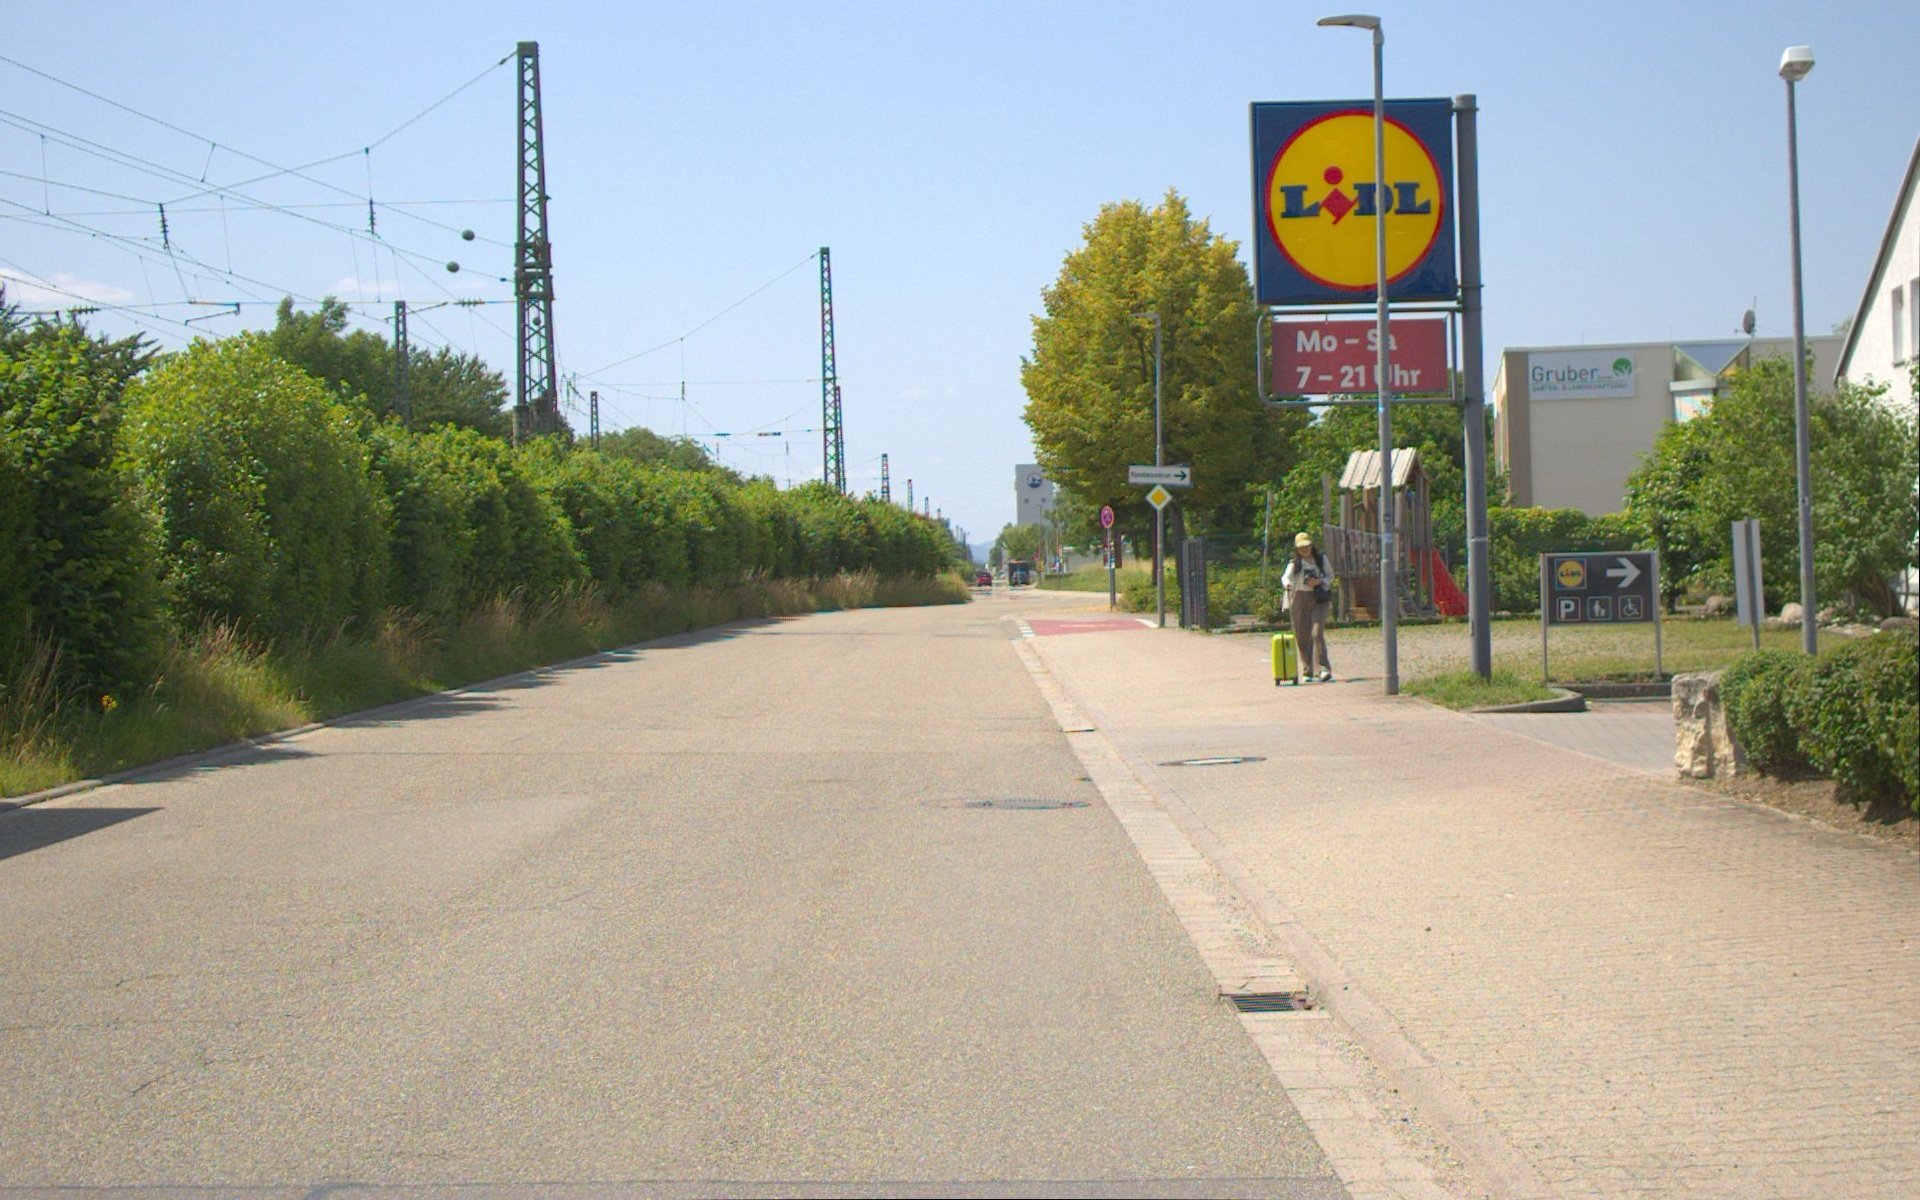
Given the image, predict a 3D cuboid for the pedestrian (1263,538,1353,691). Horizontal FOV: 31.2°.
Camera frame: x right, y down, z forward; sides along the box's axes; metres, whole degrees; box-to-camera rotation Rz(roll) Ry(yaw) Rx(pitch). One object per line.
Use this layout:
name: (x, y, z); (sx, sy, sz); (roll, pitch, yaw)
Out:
pedestrian: (3.733, 0.143, 36.926); (0.761, 1.596, 1.210); (-1, 1, -3)

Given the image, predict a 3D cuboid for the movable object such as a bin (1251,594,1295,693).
movable object such as a bin: (3.317, 0.456, 36.437); (0.374, 1.026, 0.499); (-2, 1, -2)
